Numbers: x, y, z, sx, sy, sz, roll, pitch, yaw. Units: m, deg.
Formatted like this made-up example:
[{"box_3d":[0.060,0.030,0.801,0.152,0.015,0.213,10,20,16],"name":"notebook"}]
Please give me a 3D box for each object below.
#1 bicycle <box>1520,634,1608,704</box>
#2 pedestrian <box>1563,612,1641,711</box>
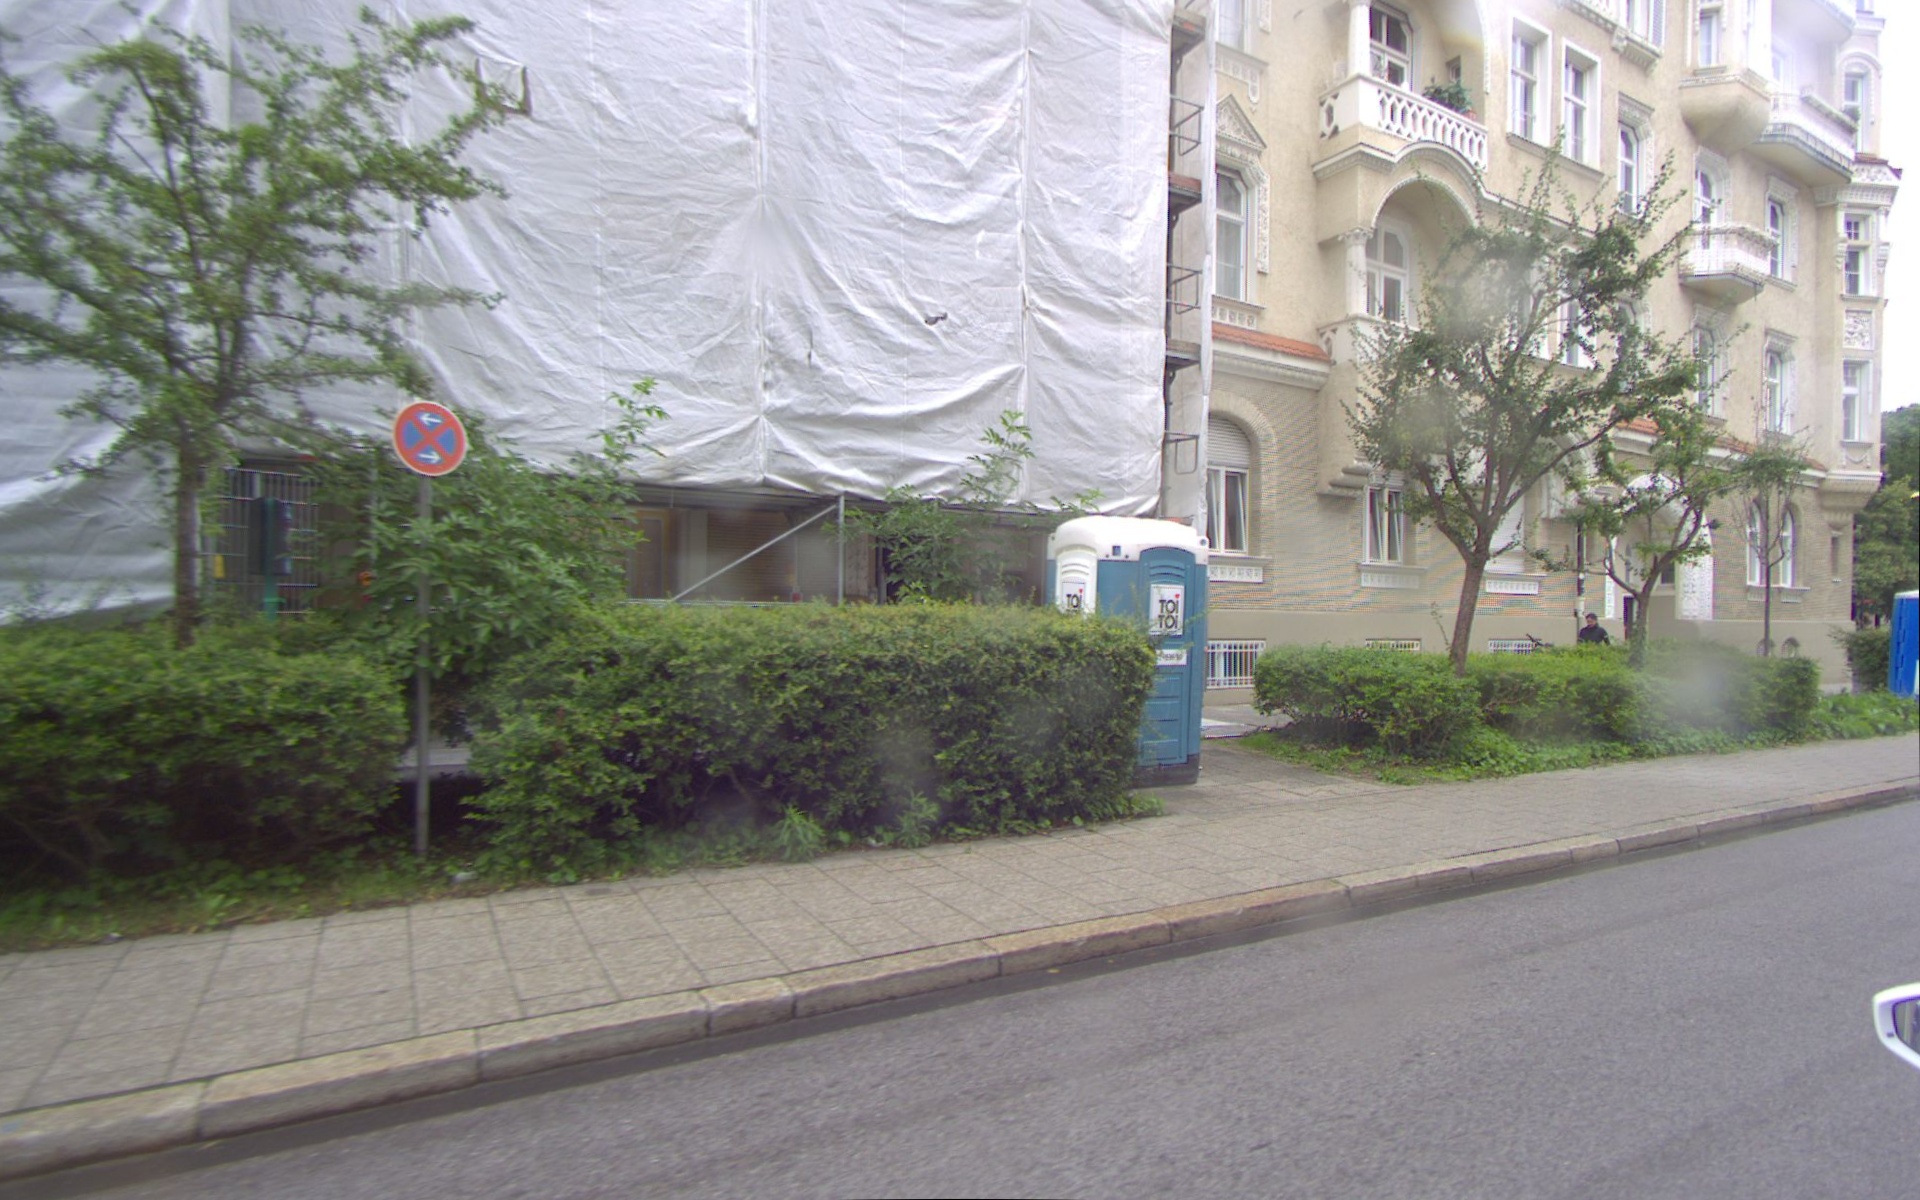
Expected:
[{"box_3d":[11.826,1.322,19.662,1.682,1.293,0.742,1,-1,-29],"name":"bicycle"},{"box_3d":[11.933,1.123,18.671,0.937,1.774,0.909,1,-1,-30],"name":"pedestrian"}]
